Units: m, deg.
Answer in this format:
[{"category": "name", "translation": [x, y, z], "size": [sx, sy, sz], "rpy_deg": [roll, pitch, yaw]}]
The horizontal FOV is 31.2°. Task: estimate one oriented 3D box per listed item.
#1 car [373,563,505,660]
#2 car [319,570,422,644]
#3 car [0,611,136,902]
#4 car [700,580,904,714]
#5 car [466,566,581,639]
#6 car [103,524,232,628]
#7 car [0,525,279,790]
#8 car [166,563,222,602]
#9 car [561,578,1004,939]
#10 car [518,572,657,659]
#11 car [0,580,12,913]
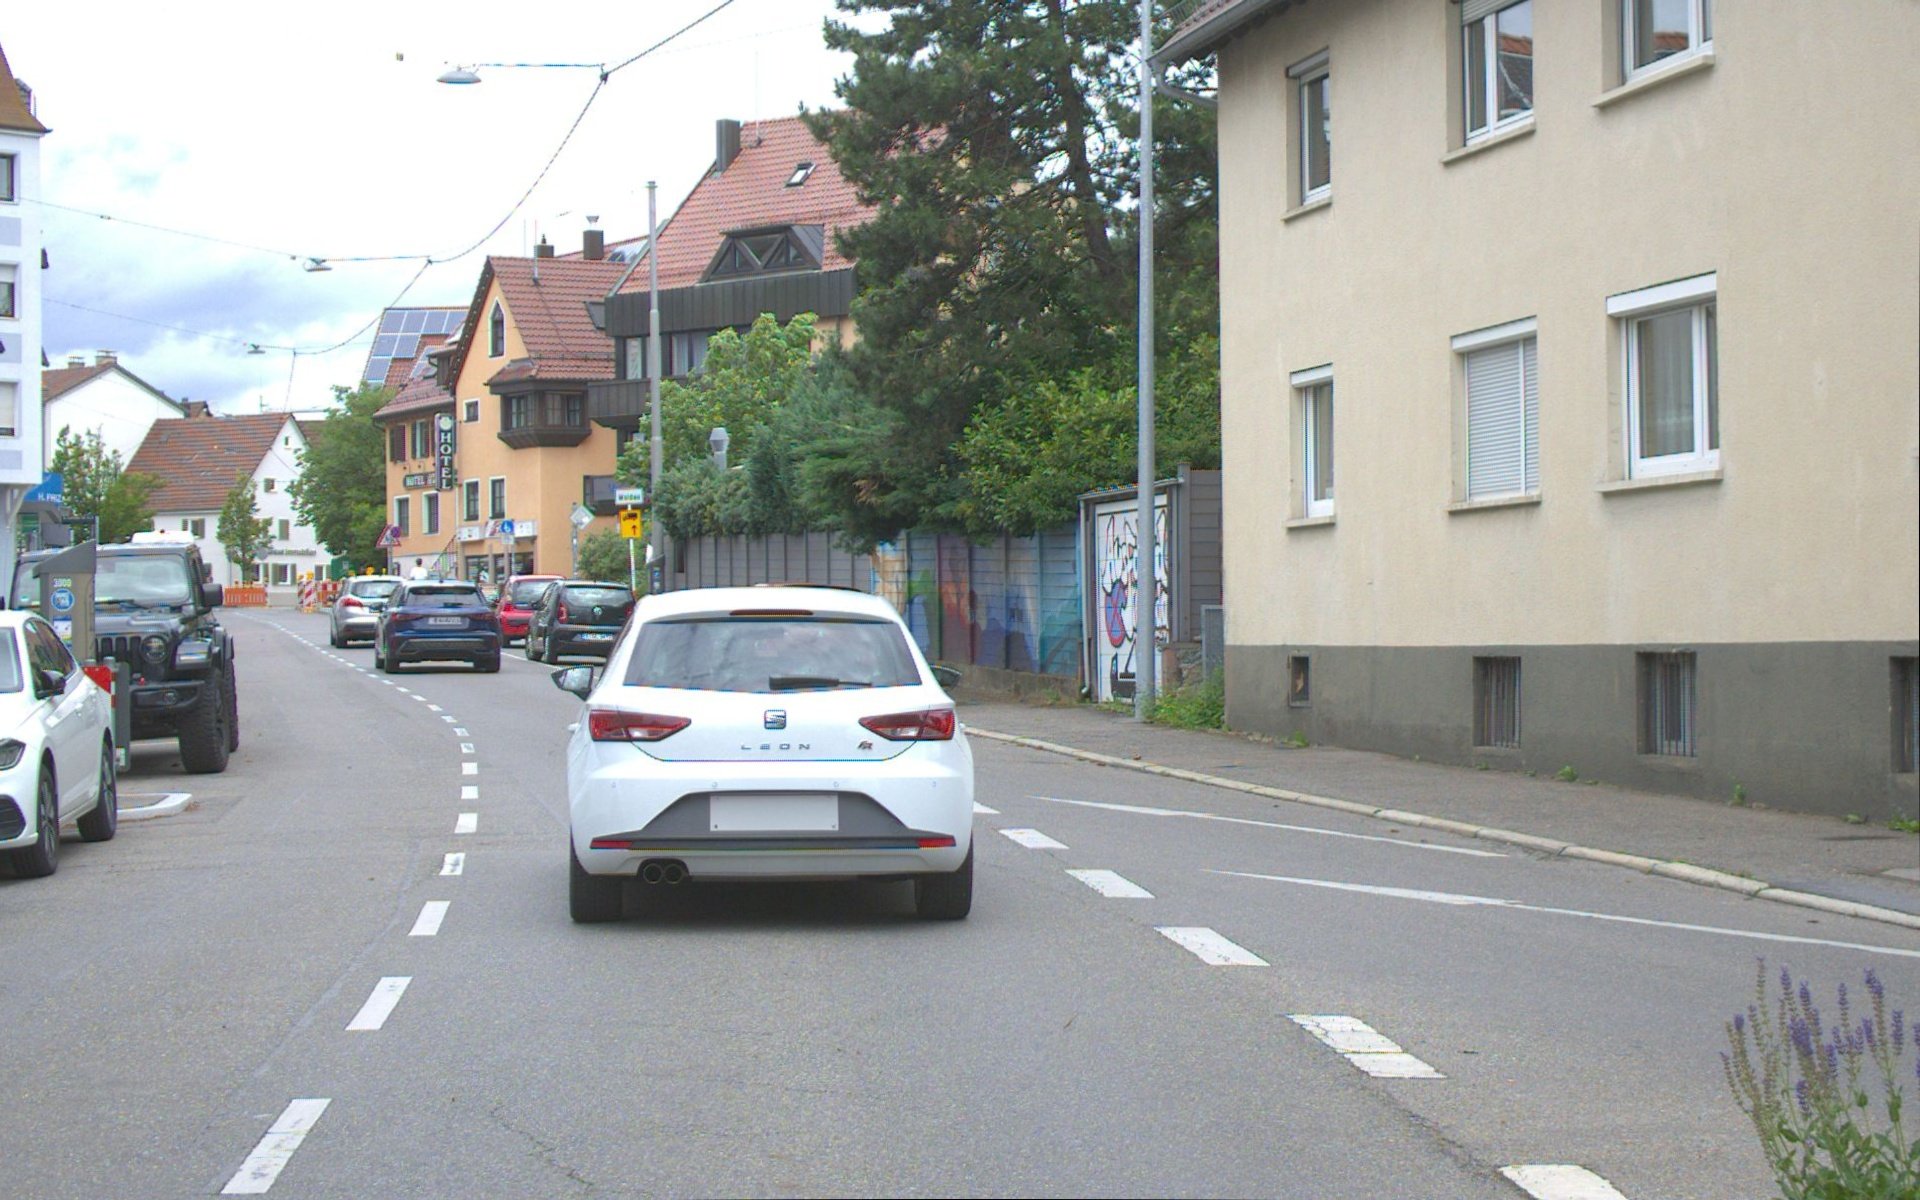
[{"category": "car", "translation": [-8.132, 0.159, 53.460], "size": [1.758, 1.447, 4.001], "rpy_deg": [0, 0, -13]}, {"category": "car", "translation": [-11.979, 0.115, 69.703], "size": [1.758, 1.447, 4.001], "rpy_deg": [0, 0, -14]}, {"category": "car", "translation": [-5.943, 0.808, 19.517], "size": [1.997, 1.431, 3.919], "rpy_deg": [0, 1, -7]}, {"category": "car", "translation": [-1.915, 0.516, 40.541], "size": [1.758, 1.447, 4.001], "rpy_deg": [2, 0, -12]}, {"category": "car", "translation": [-8.928, 0.032, 70.090], "size": [1.758, 1.447, 4.001], "rpy_deg": [0, 0, -16]}, {"category": "car", "translation": [-21.291, -0.672, 92.567], "size": [2.152, 2.678, 5.545], "rpy_deg": [1, 1, 0]}, {"category": "car", "translation": [-7.089, 0.416, 29.296], "size": [1.993, 2.007, 4.671], "rpy_deg": [-3, 1, -6]}, {"category": "car", "translation": [-34.707, -0.803, 155.898], "size": [1.794, 1.696, 4.000], "rpy_deg": [0, 1, -2]}, {"category": "car", "translation": [-0.945, 0.627, 15.975], "size": [1.758, 1.447, 4.001], "rpy_deg": [0, 0, -7]}, {"category": "car", "translation": [-6.481, 0.249, 59.469], "size": [1.758, 1.447, 4.001], "rpy_deg": [0, 0, -16]}, {"category": "car", "translation": [-5.512, 0.737, 14.557], "size": [1.997, 1.627, 4.858], "rpy_deg": [0, 1, -4]}]
